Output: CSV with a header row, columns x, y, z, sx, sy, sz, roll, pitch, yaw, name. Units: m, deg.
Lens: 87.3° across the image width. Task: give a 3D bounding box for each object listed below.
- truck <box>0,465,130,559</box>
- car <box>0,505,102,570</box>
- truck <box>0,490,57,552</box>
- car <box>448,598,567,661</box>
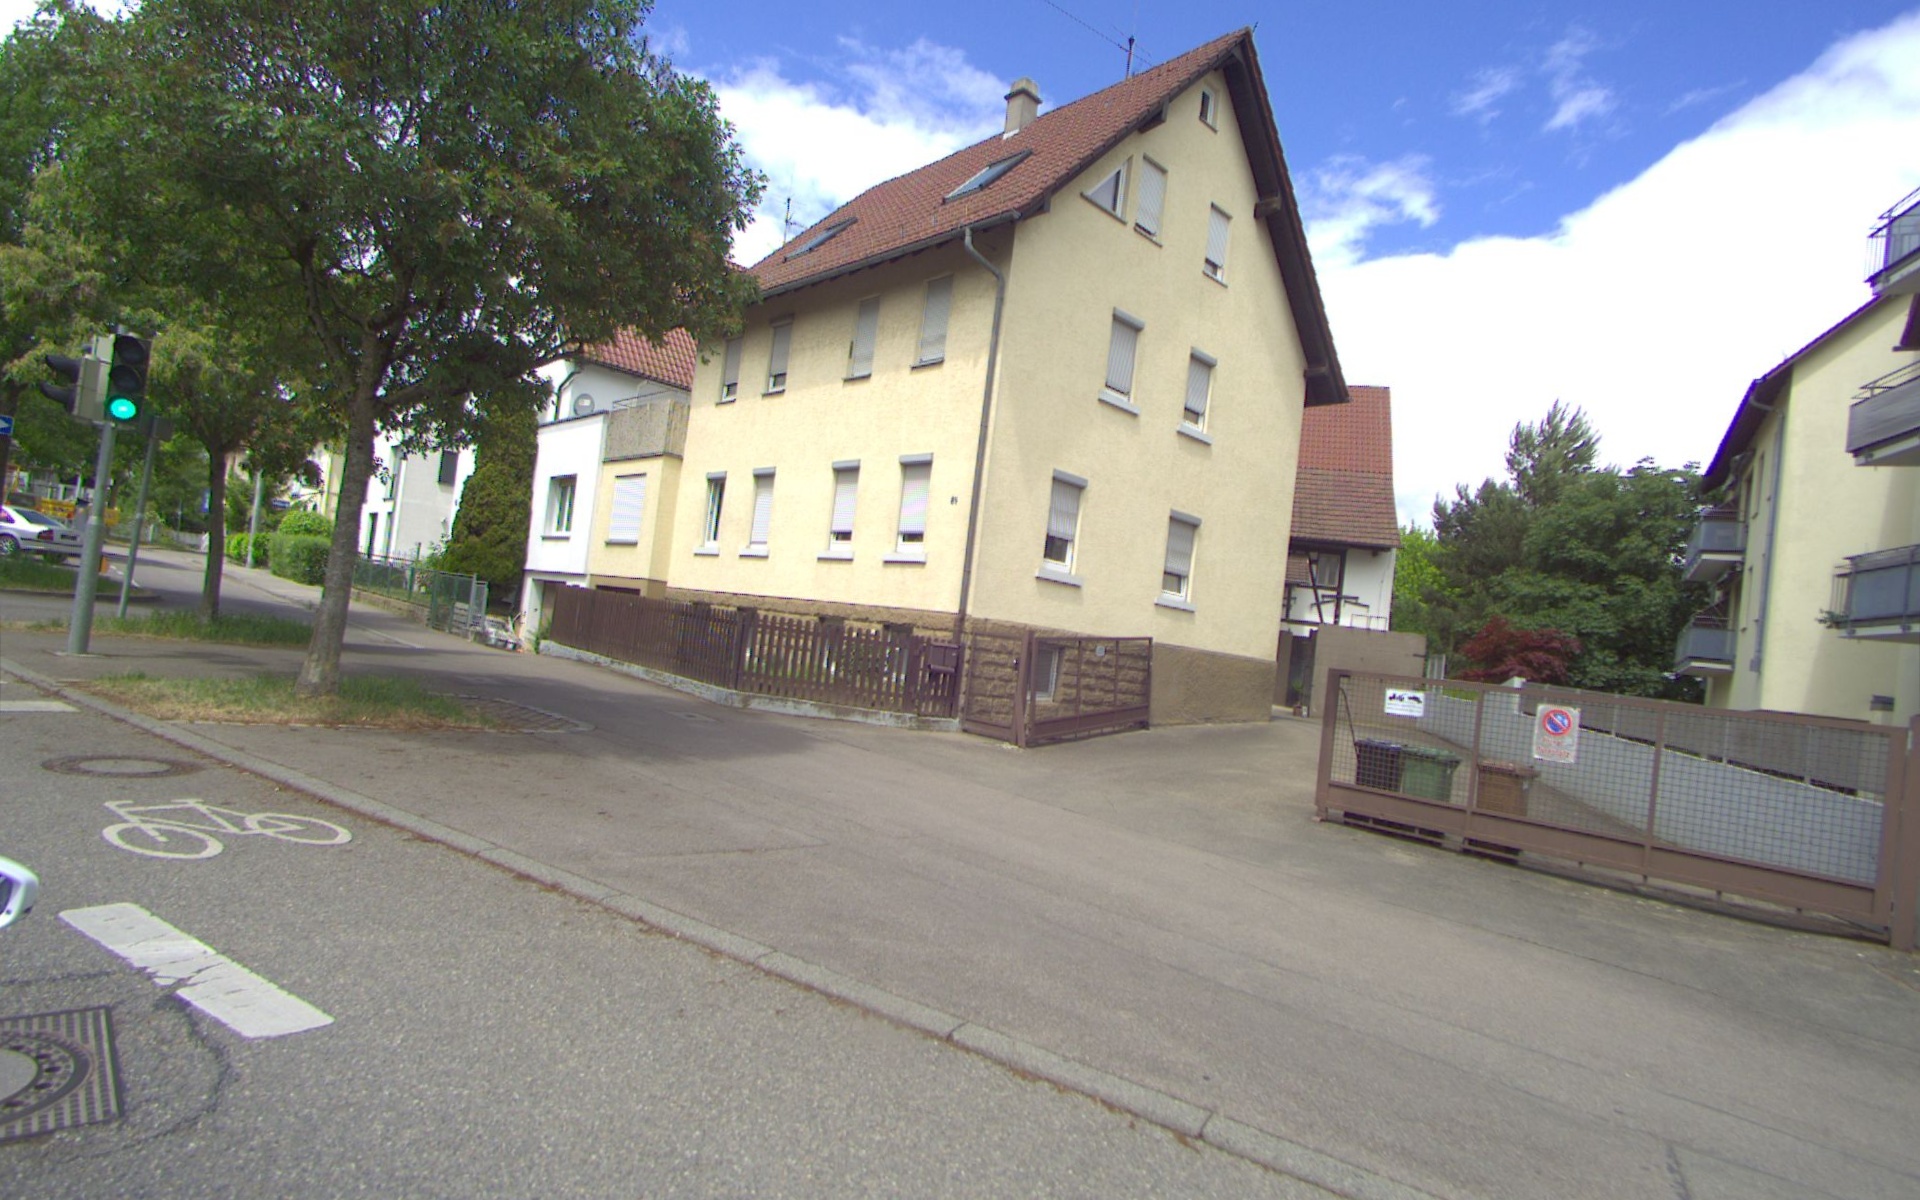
x,y,z,sx,sy,sz,roll,pitch,yaw,name
-39.064,-3.862,41.529,6.592,3.039,2.772,9,-4,-7,truck
-27.752,-2.010,28.769,4.607,1.468,1.768,9,-2,-5,car
-38.740,-3.443,38.677,5.584,2.034,2.000,9,-4,-9,truck
-11.266,0.699,24.937,1.459,1.136,3.828,12,-6,-42,car
